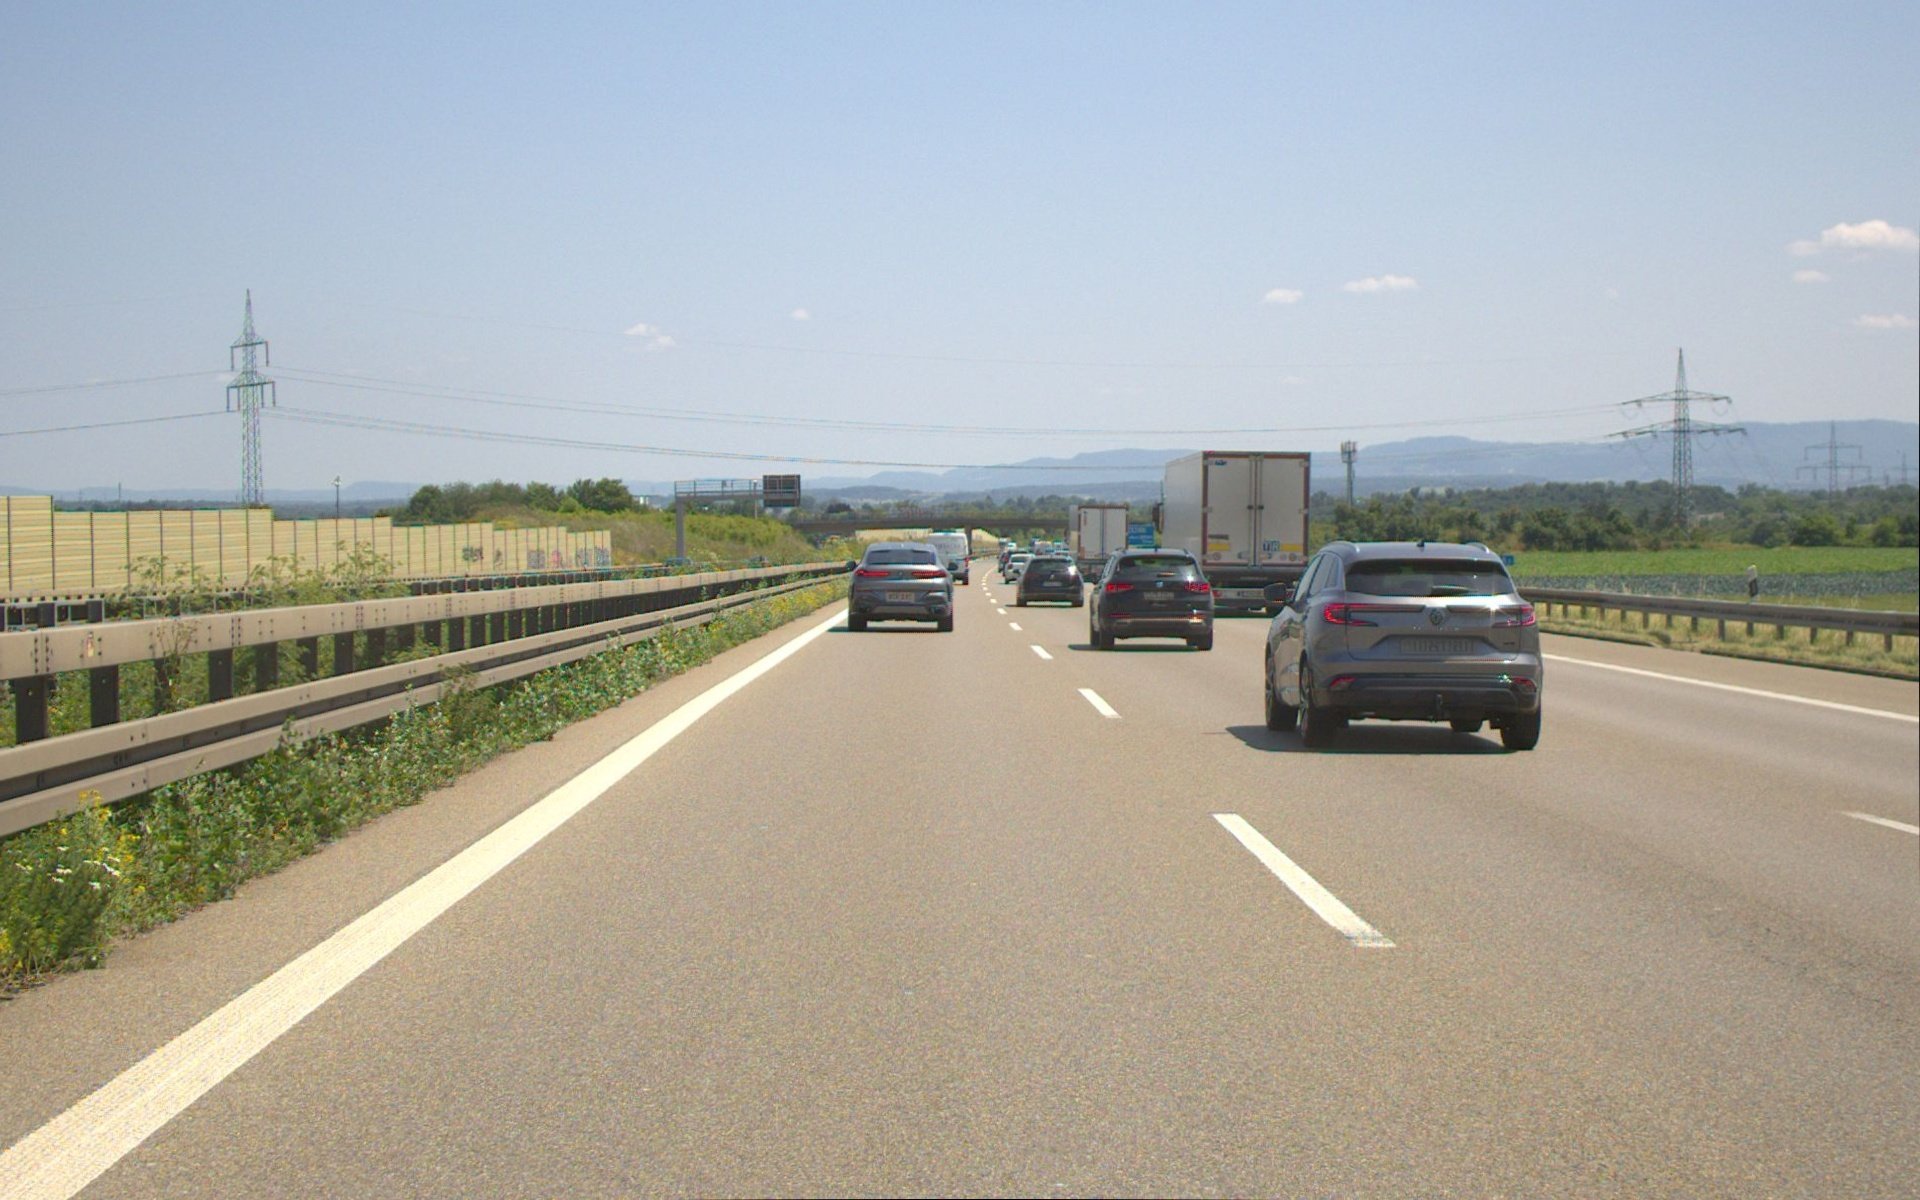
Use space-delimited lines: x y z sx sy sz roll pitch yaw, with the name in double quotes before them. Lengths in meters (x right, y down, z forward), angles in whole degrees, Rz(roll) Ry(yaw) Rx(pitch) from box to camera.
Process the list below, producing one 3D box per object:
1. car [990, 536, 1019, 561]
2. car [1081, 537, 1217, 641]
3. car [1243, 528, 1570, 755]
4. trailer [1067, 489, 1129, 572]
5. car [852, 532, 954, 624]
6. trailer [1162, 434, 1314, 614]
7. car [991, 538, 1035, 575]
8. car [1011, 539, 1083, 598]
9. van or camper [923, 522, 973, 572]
"car" 3.134 -3.623 242.294 1.993 1.677 4.000 1 1 1
"car" 2.958 -0.189 54.517 1.796 1.556 3.824 1 1 -2
"car" 3.502 0.288 27.780 1.851 1.643 4.645 1 0 -2
"trailer" 7.248 -3.598 181.908 2.943 4.184 13.596 1 1 1
"car" -1.110 -0.424 65.521 1.851 1.658 3.735 1 1 -2
"trailer" 6.997 -1.873 88.268 2.868 4.205 13.294 1 1 1
"car" 2.530 -2.064 163.125 1.993 1.677 4.000 1 1 1
"car" 2.421 -0.888 96.774 1.933 1.569 4.934 1 1 1
"van or camper" -0.529 -2.399 156.214 2.111 2.204 5.265 1 1 1
